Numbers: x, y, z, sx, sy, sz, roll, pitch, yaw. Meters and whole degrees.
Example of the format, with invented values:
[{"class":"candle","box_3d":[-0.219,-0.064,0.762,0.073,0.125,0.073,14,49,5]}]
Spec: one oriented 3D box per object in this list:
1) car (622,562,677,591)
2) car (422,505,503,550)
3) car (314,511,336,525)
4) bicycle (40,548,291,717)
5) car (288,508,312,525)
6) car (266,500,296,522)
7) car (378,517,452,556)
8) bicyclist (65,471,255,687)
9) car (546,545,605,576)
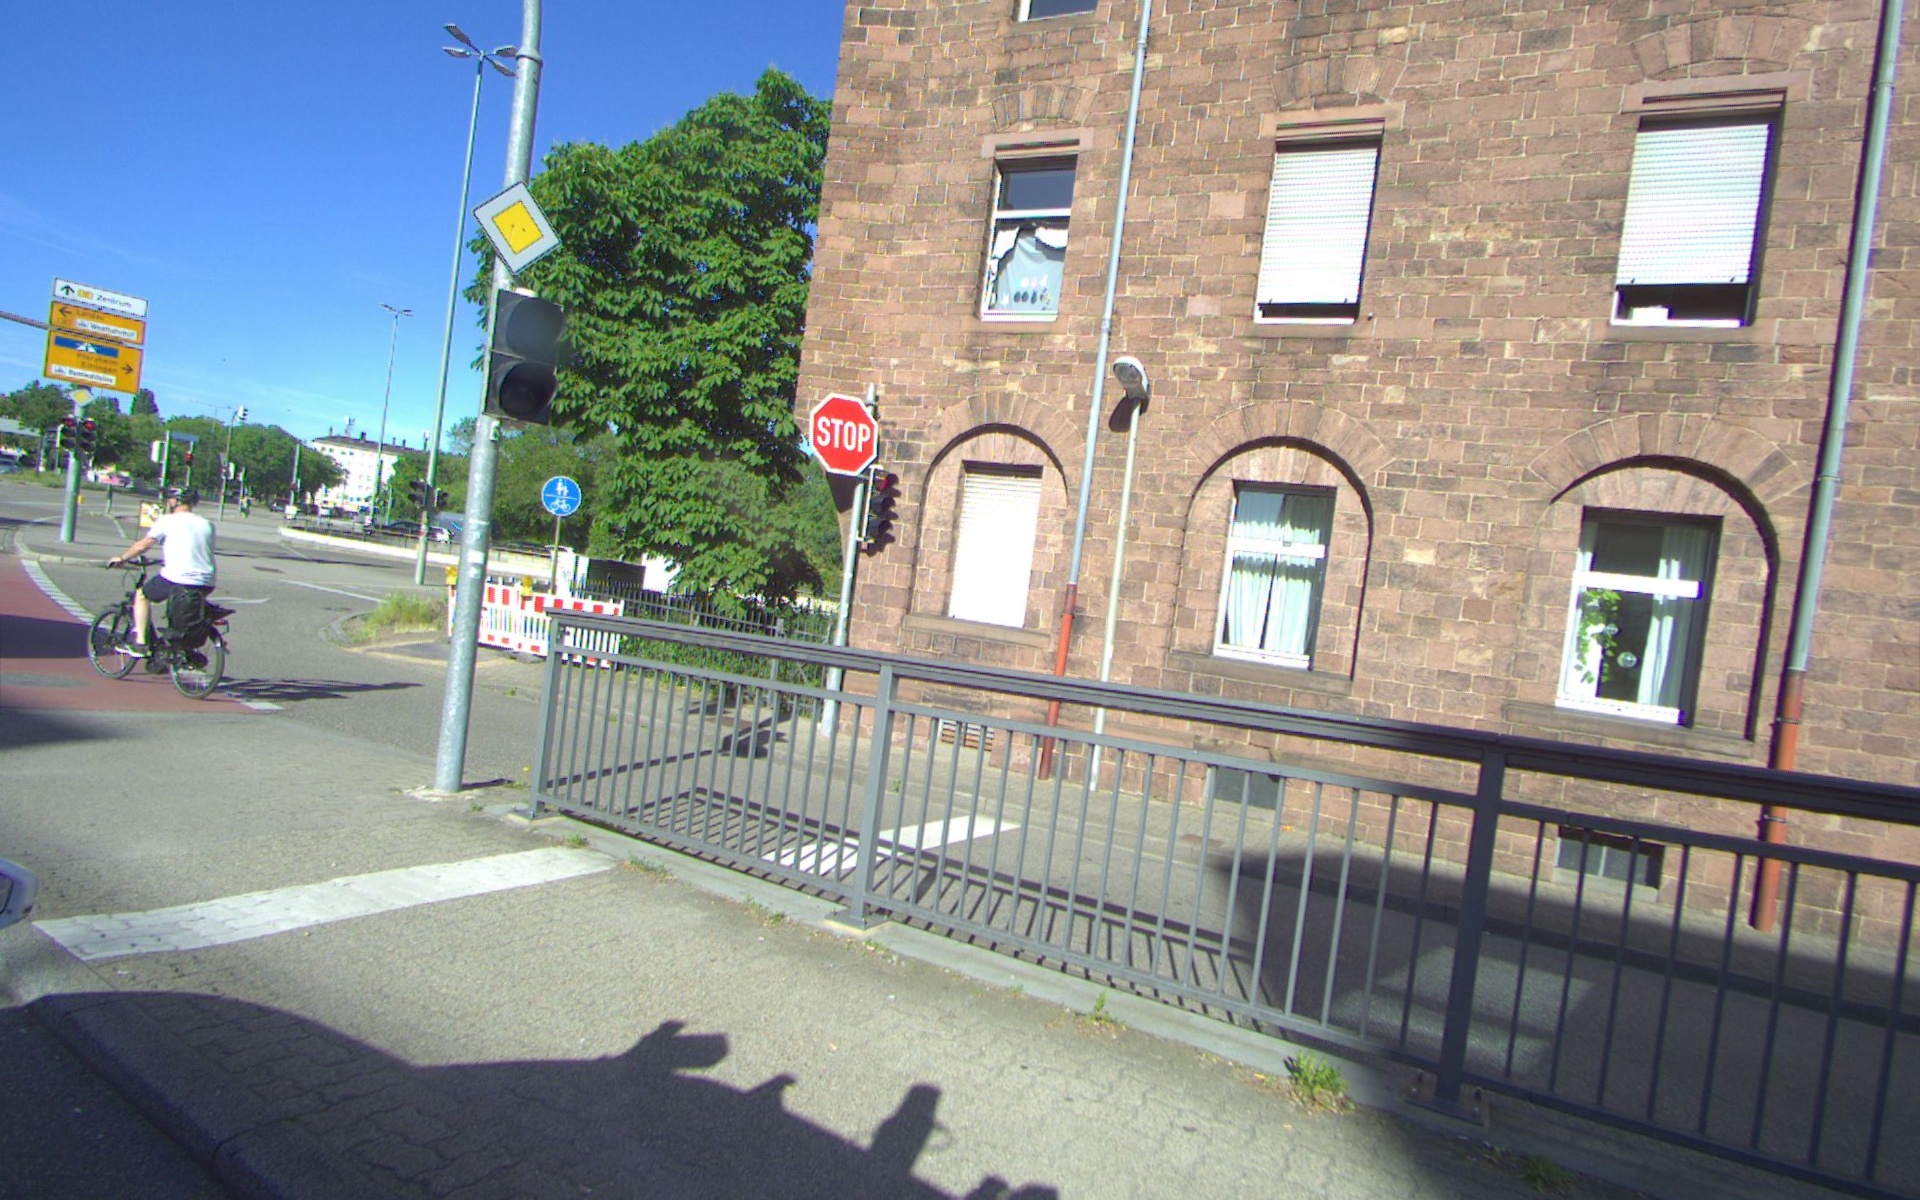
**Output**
[{"class":"car","box_3d":[-24.739,-1.865,80.238,3.938,1.703,1.852,7,-2,-16]},{"class":"car","box_3d":[-38.157,-5.528,77.304,4.798,2.637,2.262,7,-2,-3]},{"class":"car","box_3d":[-92.109,-11.852,145.970,1.975,1.660,3.975,7,0,-25]},{"class":"bicycle","box_3d":[-7.031,0.266,8.865,2.361,1.123,0.801,8,-1,29]},{"class":"car","box_3d":[-83.691,-10.598,127.659,1.977,1.816,3.971,7,1,-28]},{"class":"car","box_3d":[-74.560,-9.755,110.582,1.975,1.814,3.978,7,-2,-25]},{"class":"car","box_3d":[-37.639,-4.347,69.601,3.938,2.037,1.995,7,-2,-15]},{"class":"bicyclist","box_3d":[-7.094,-0.177,8.934,1.066,1.725,0.801,8,-1,29]},{"class":"car","box_3d":[-30.012,-3.050,78.680,3.938,1.770,1.995,7,-2,-15]}]
